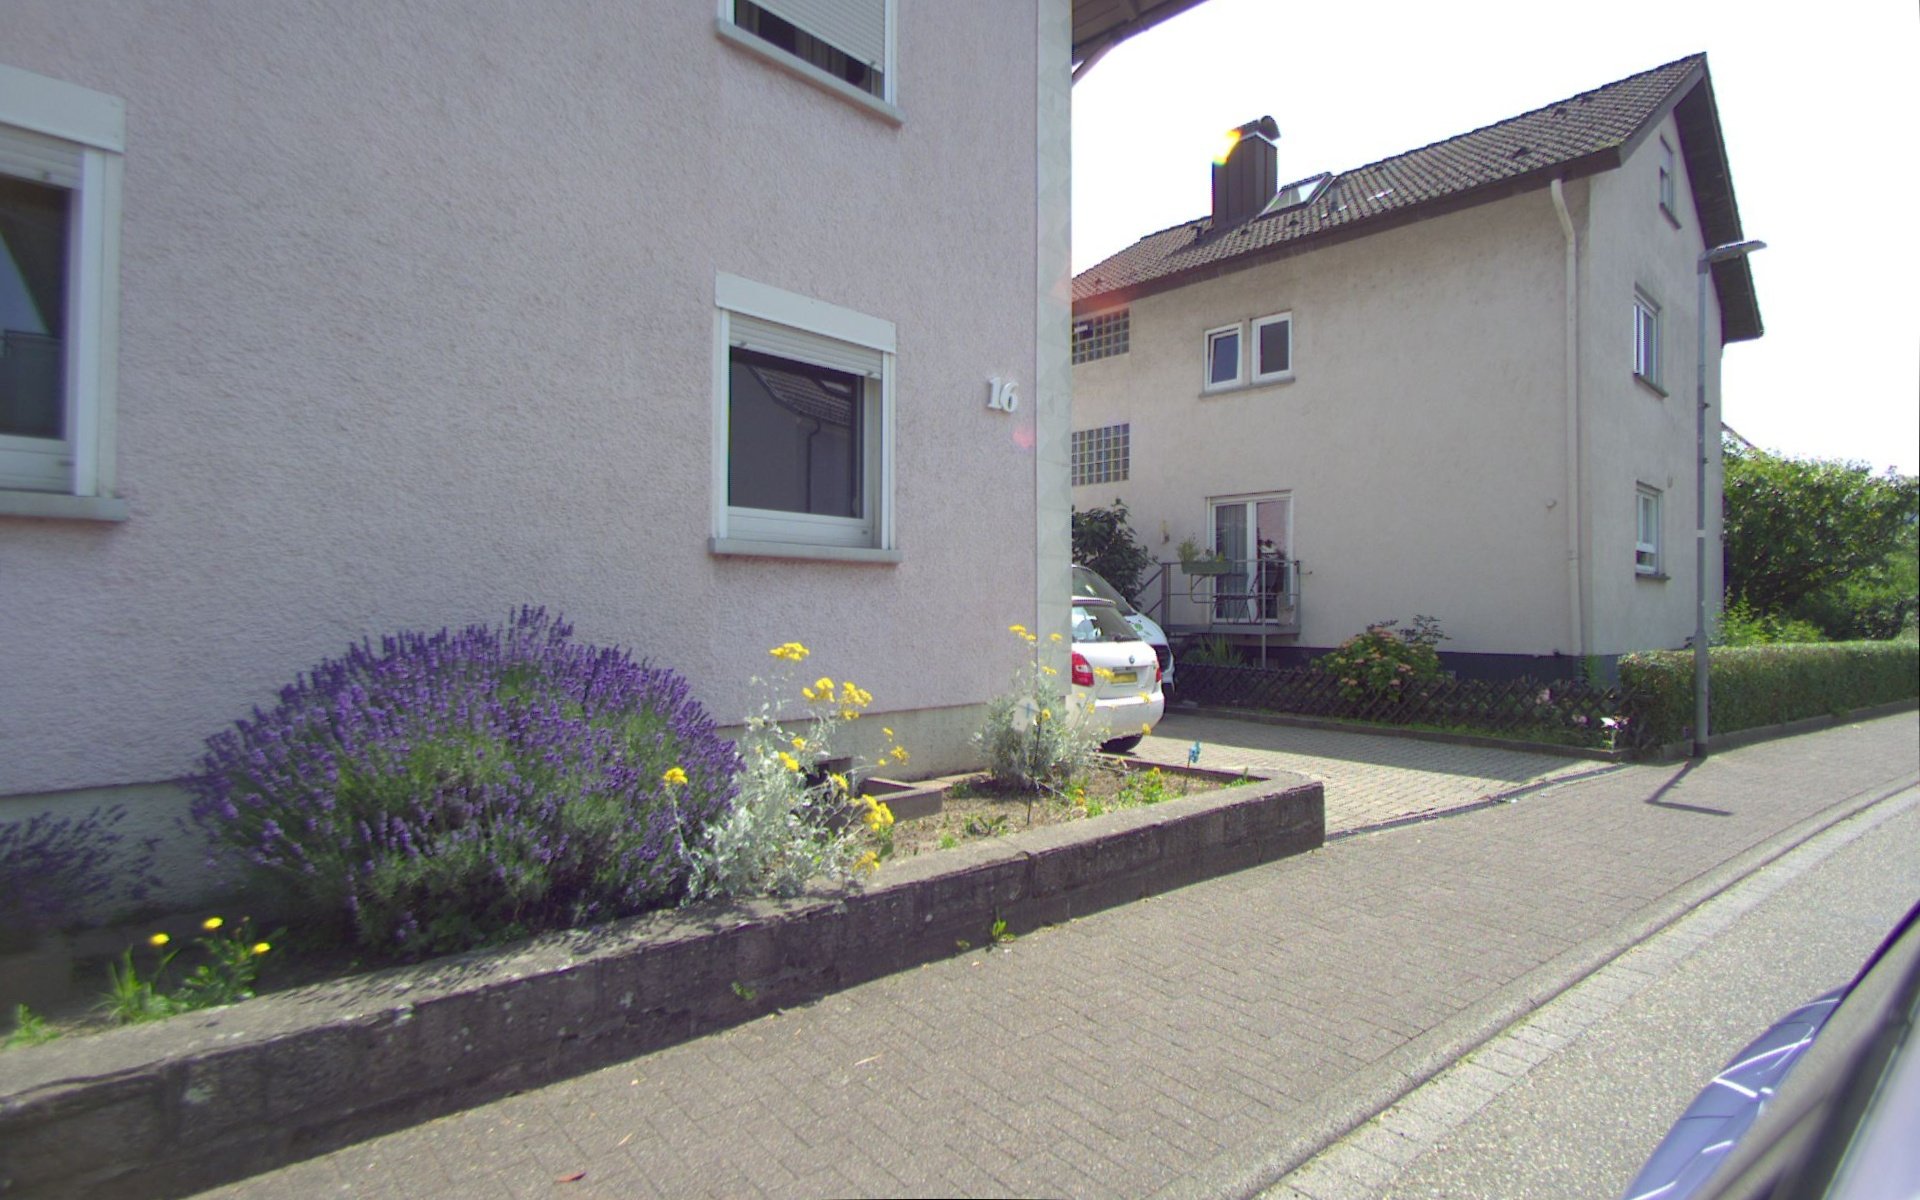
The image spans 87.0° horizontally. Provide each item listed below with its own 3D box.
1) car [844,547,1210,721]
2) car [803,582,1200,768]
[{"bbox_3d":[0.705,0.353,13.772,2.020,1.937,4.987,1,0,-42],"label":"car"},{"bbox_3d":[0.283,0.585,10.019,3.746,1.479,1.655,1,0,42],"label":"car"}]
